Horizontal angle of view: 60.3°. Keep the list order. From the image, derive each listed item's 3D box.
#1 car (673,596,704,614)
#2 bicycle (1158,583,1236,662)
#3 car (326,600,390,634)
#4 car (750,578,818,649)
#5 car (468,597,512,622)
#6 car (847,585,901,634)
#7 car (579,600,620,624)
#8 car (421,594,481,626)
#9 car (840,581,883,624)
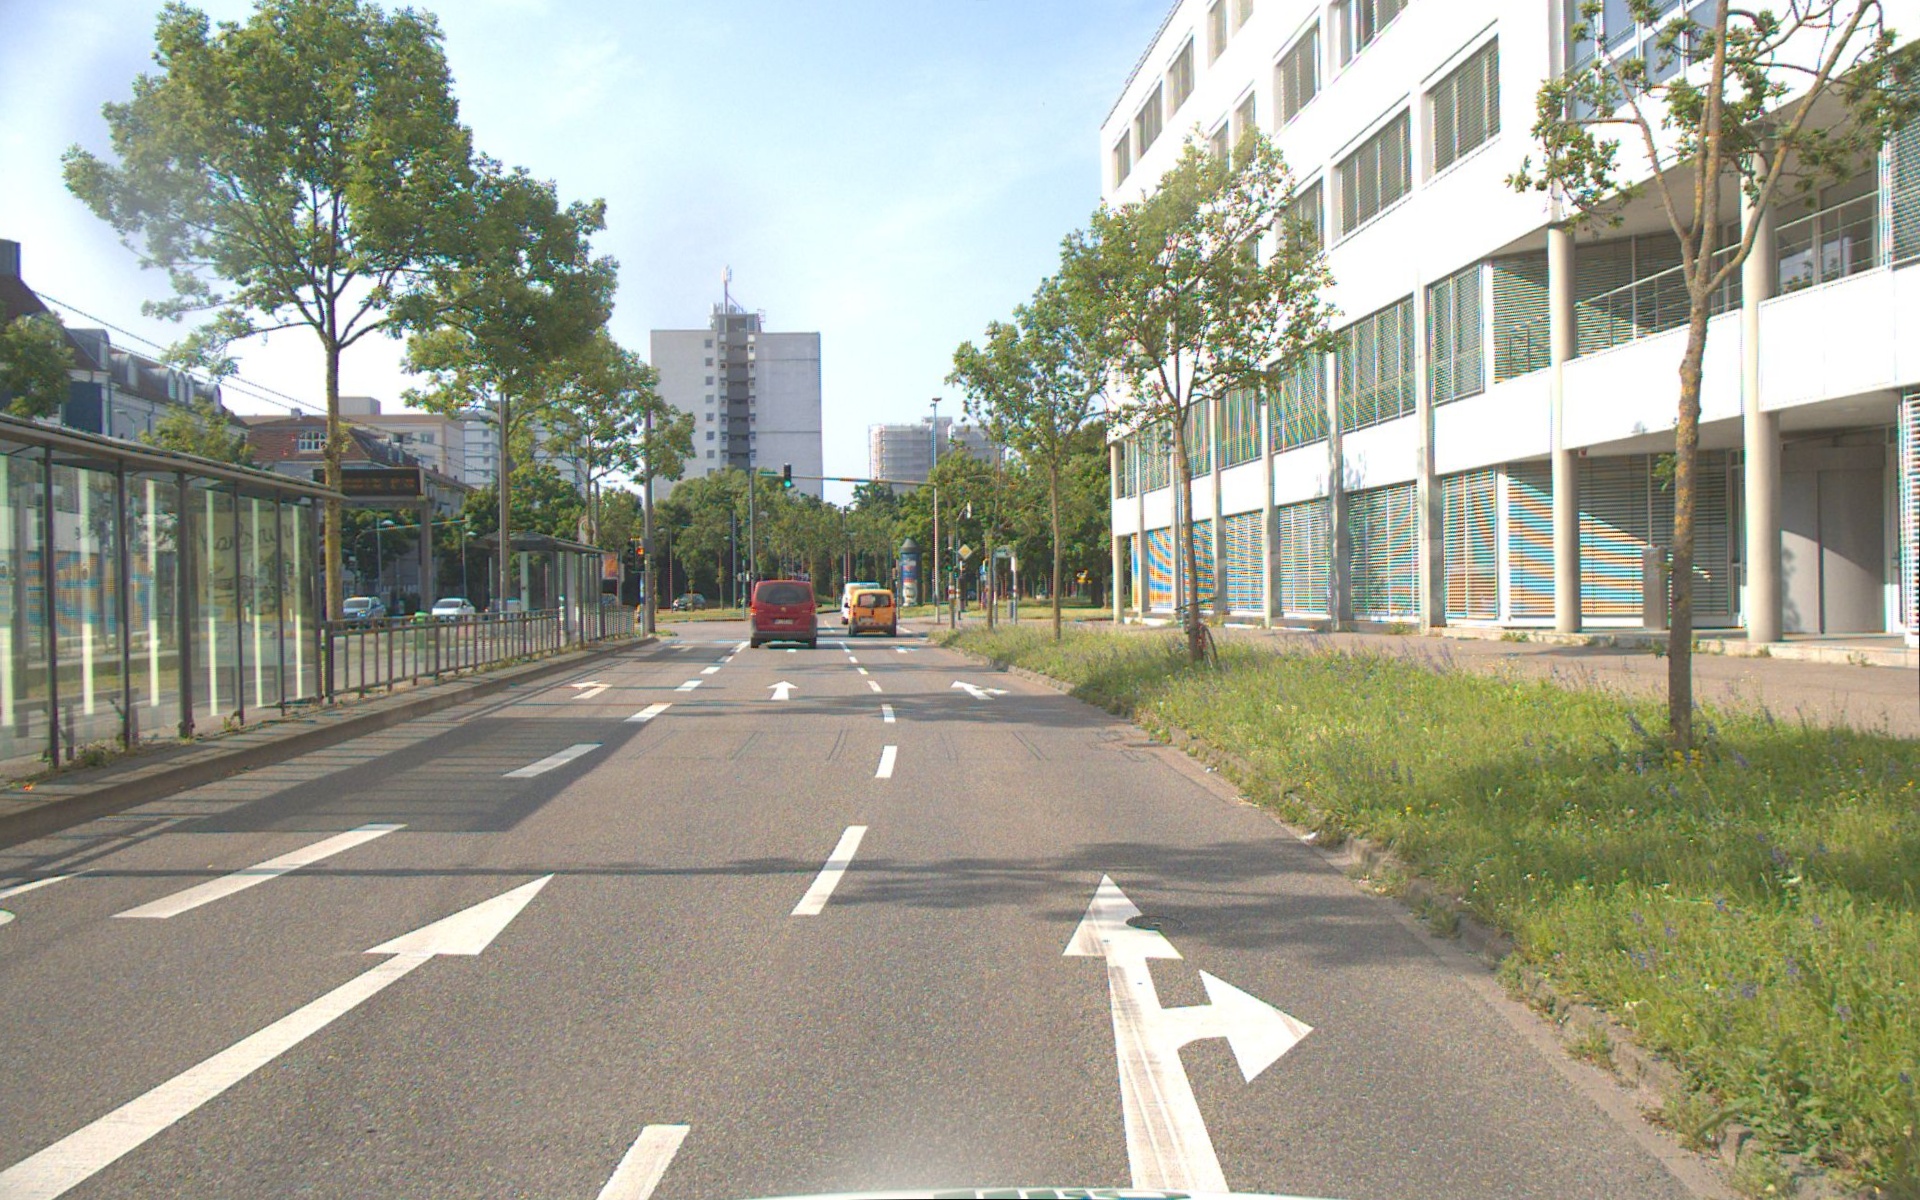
[{"bbox_3d":[-23.692,0.443,144.644,1.836,1.601,4.001,1,0,3],"label":"car"},{"bbox_3d":[3.228,0.290,22.670,0.606,1.035,1.877,-1,0,-6],"label":"bicycle"},{"bbox_3d":[-29.930,0.825,82.358,1.954,1.624,3.996,1,0,-5],"label":"car"},{"bbox_3d":[-5.037,0.363,47.166,1.839,1.886,3.994,-1,0,-7],"label":"car"},{"bbox_3d":[-30.745,0.622,108.346,1.837,1.601,3.998,-1,0,-2],"label":"car"},{"bbox_3d":[-3.209,0.338,60.845,1.839,1.726,3.969,-1,0,-5],"label":"car"},{"bbox_3d":[-26.039,0.856,119.606,1.836,1.601,4.002,-1,0,4],"label":"car"},{"bbox_3d":[-26.615,0.508,86.557,1.953,1.624,4.048,1,0,-2],"label":"car"},{"bbox_3d":[-4.841,0.116,80.706,1.955,2.049,3.995,1,0,-6],"label":"car"}]
